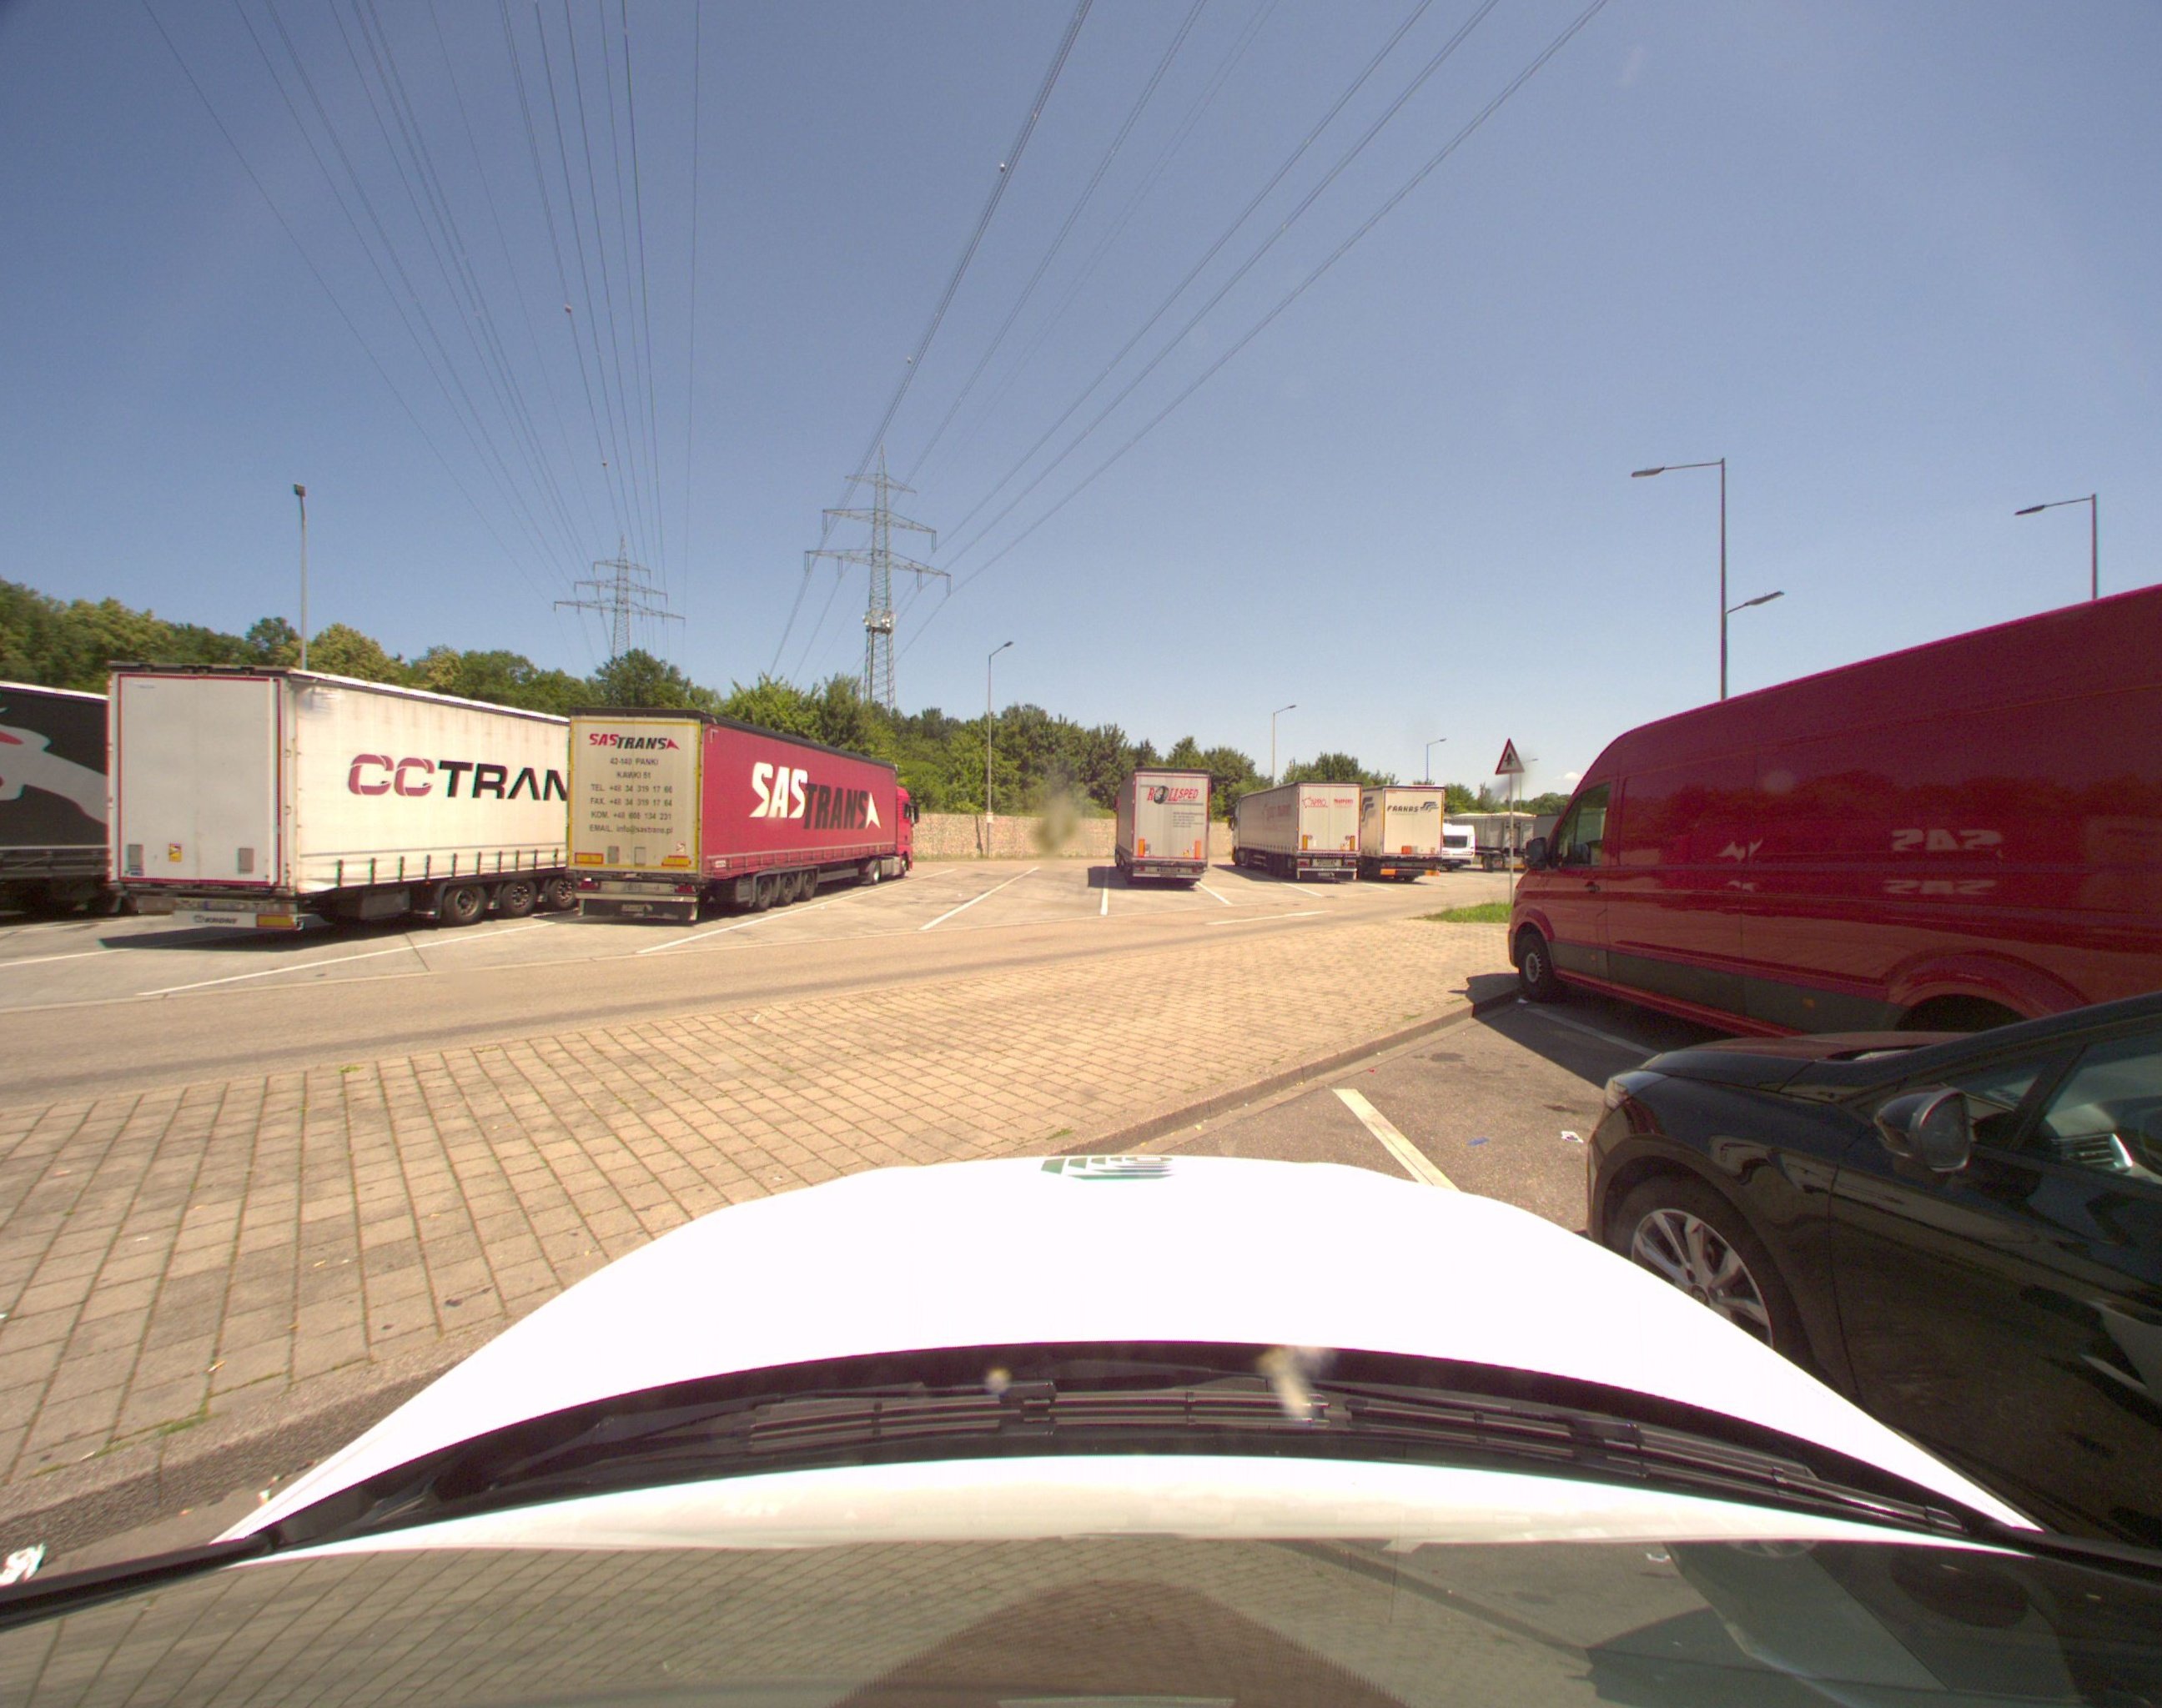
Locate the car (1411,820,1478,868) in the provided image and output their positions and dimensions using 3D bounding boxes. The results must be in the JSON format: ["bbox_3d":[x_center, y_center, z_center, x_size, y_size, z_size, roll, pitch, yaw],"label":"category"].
[{"bbox_3d":[20.530,-0.525,46.160,2.107,2.599,4.001,0,-1,2],"label":"car"}]

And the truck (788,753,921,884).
[{"bbox_3d":[-7.756,-1.166,28.737,2.795,4.133,5.896,-1,1,2],"label":"truck"}]

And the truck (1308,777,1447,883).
[{"bbox_3d":[13.525,-0.931,38.559,2.577,4.226,11.974,0,-1,2],"label":"truck"}]

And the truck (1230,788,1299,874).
[{"bbox_3d":[10.072,-1.240,45.314,2.651,4.452,5.866,-1,1,2],"label":"truck"}]

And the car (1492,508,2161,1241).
[{"bbox_3d":[5.129,0.028,5.532,1.984,2.633,6.393,-1,1,5],"label":"car"}]

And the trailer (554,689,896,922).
[{"bbox_3d":[-8.005,-0.976,21.480,2.789,4.219,13.208,-1,1,2],"label":"trailer"}]

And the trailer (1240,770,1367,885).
[{"bbox_3d":[9.893,-1.117,38.043,2.672,4.452,12.833,-1,1,1],"label":"trailer"}]

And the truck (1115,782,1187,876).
[{"bbox_3d":[3.103,-1.094,37.761,2.861,3.980,6.030,-1,1,1],"label":"truck"}]

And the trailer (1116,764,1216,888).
[{"bbox_3d":[3.015,-1.008,32.211,2.887,4.013,11.318,-1,1,1],"label":"trailer"}]

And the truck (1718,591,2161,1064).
[{"bbox_3d":[7.792,-0.155,6.056,2.508,2.827,4.821,0,-1,3],"label":"truck"}]

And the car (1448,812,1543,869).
[{"bbox_3d":[24.128,-0.770,47.783,2.490,3.074,6.353,-1,1,2],"label":"car"}]

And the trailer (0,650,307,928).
[{"bbox_3d":[-18.556,-1.062,14.920,2.668,4.444,6.151,-1,1,2],"label":"trailer"}]

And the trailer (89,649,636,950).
[{"bbox_3d":[-12.190,-0.811,15.392,2.744,4.152,8.291,0,1,2],"label":"trailer"}]

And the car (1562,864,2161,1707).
[{"bbox_3d":[2.547,0.752,0.870,1.772,1.457,3.682,0,-1,-3],"label":"car"}]
